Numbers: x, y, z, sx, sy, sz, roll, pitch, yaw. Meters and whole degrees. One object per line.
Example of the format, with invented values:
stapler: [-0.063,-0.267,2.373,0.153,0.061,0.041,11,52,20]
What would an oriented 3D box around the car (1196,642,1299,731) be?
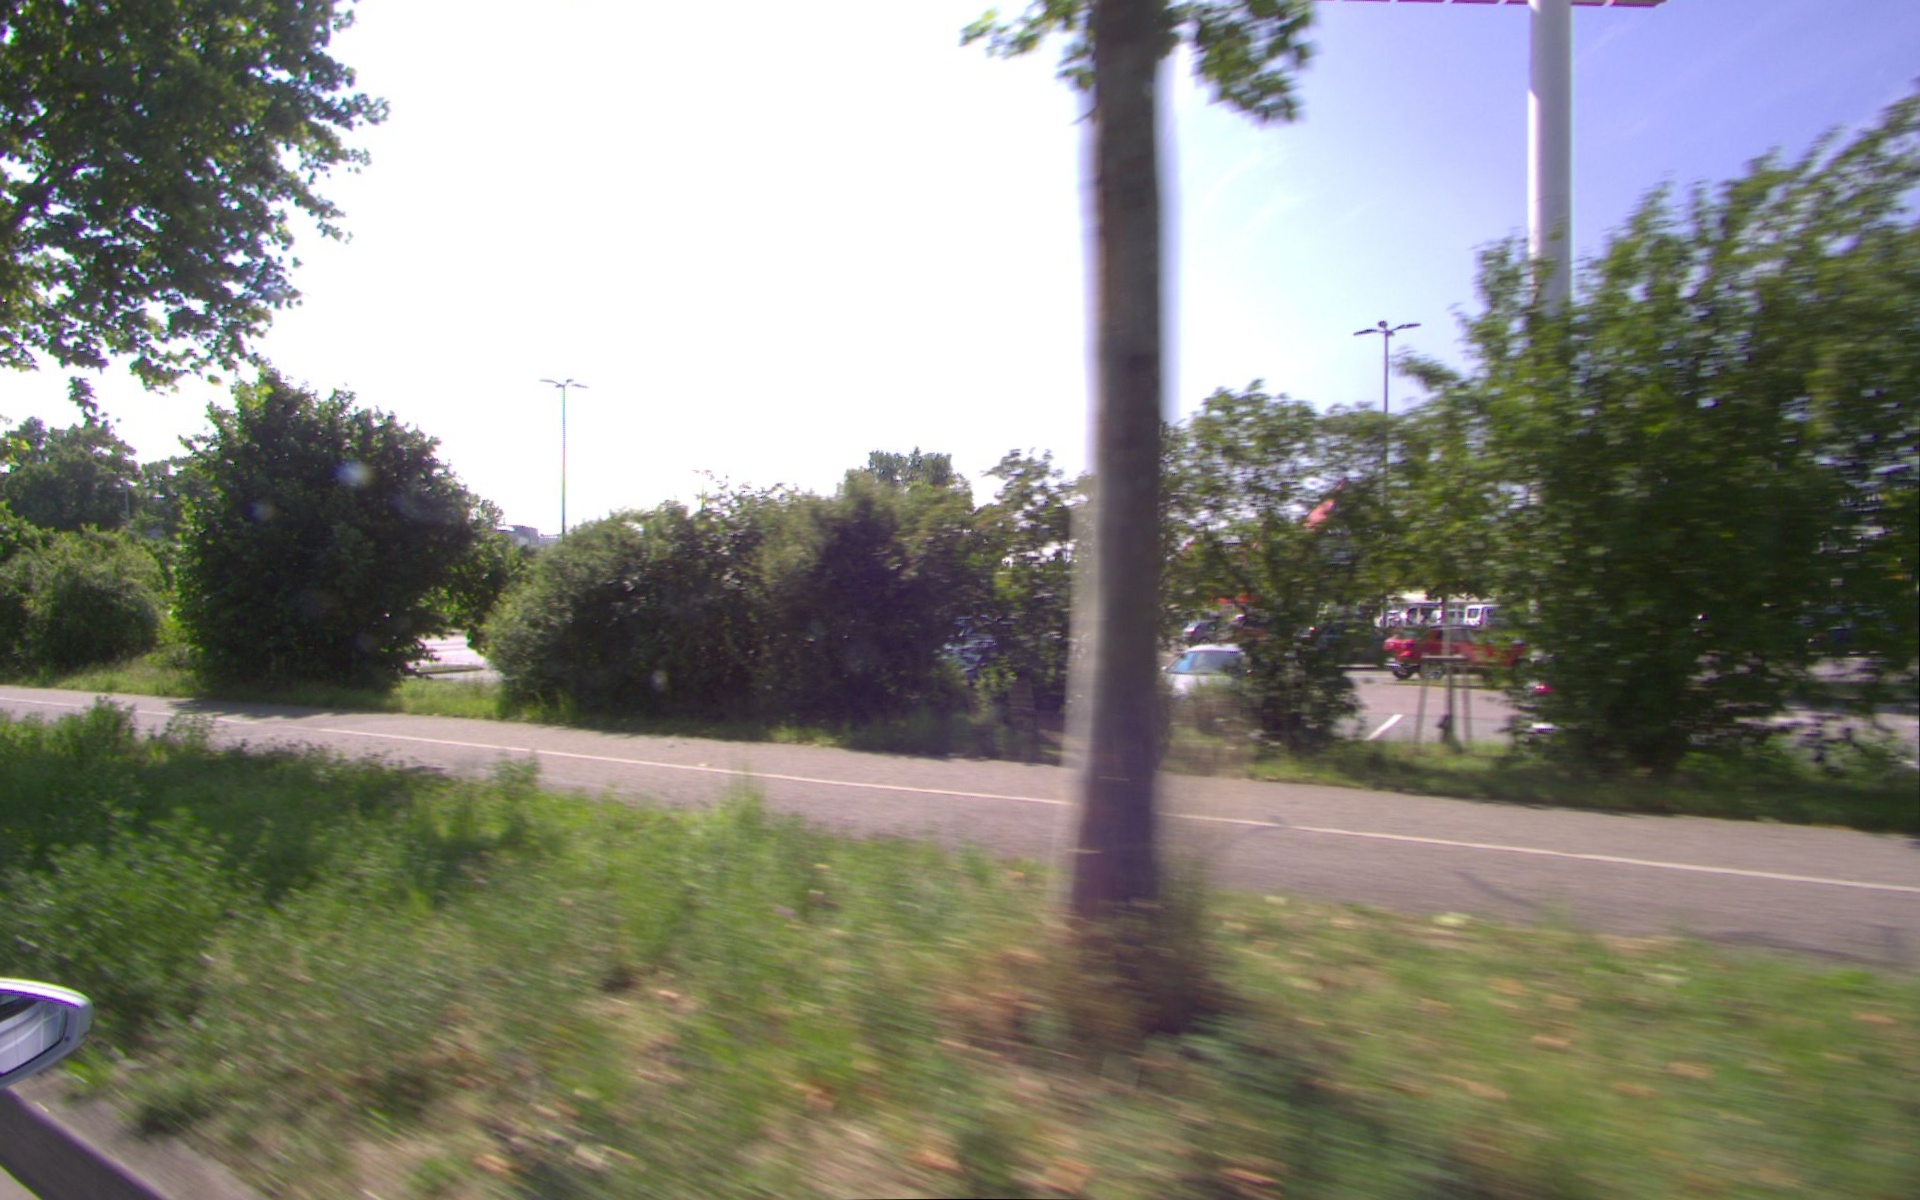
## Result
car: [5.672,1.614,19.581,1.177,1.475,3.148,-1,0,30]

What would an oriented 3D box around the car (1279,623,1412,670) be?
car: [12.741,1.516,33.206,3.716,1.505,1.781,0,-1,-6]

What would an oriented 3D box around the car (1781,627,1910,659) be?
car: [29.991,1.453,33.959,3.125,1.073,1.519,0,-2,-4]

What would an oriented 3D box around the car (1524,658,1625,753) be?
car: [9.541,1.556,15.668,1.177,1.240,3.957,-1,-3,30]

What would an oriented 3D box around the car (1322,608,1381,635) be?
car: [29.027,1.626,74.368,3.787,1.972,1.530,0,-1,-3]

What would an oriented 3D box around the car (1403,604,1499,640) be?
car: [25.093,1.149,51.252,3.922,1.772,2.001,0,-2,4]

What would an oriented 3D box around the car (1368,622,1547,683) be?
car: [13.661,1.417,27.653,3.922,1.527,2.000,-1,-1,-3]
